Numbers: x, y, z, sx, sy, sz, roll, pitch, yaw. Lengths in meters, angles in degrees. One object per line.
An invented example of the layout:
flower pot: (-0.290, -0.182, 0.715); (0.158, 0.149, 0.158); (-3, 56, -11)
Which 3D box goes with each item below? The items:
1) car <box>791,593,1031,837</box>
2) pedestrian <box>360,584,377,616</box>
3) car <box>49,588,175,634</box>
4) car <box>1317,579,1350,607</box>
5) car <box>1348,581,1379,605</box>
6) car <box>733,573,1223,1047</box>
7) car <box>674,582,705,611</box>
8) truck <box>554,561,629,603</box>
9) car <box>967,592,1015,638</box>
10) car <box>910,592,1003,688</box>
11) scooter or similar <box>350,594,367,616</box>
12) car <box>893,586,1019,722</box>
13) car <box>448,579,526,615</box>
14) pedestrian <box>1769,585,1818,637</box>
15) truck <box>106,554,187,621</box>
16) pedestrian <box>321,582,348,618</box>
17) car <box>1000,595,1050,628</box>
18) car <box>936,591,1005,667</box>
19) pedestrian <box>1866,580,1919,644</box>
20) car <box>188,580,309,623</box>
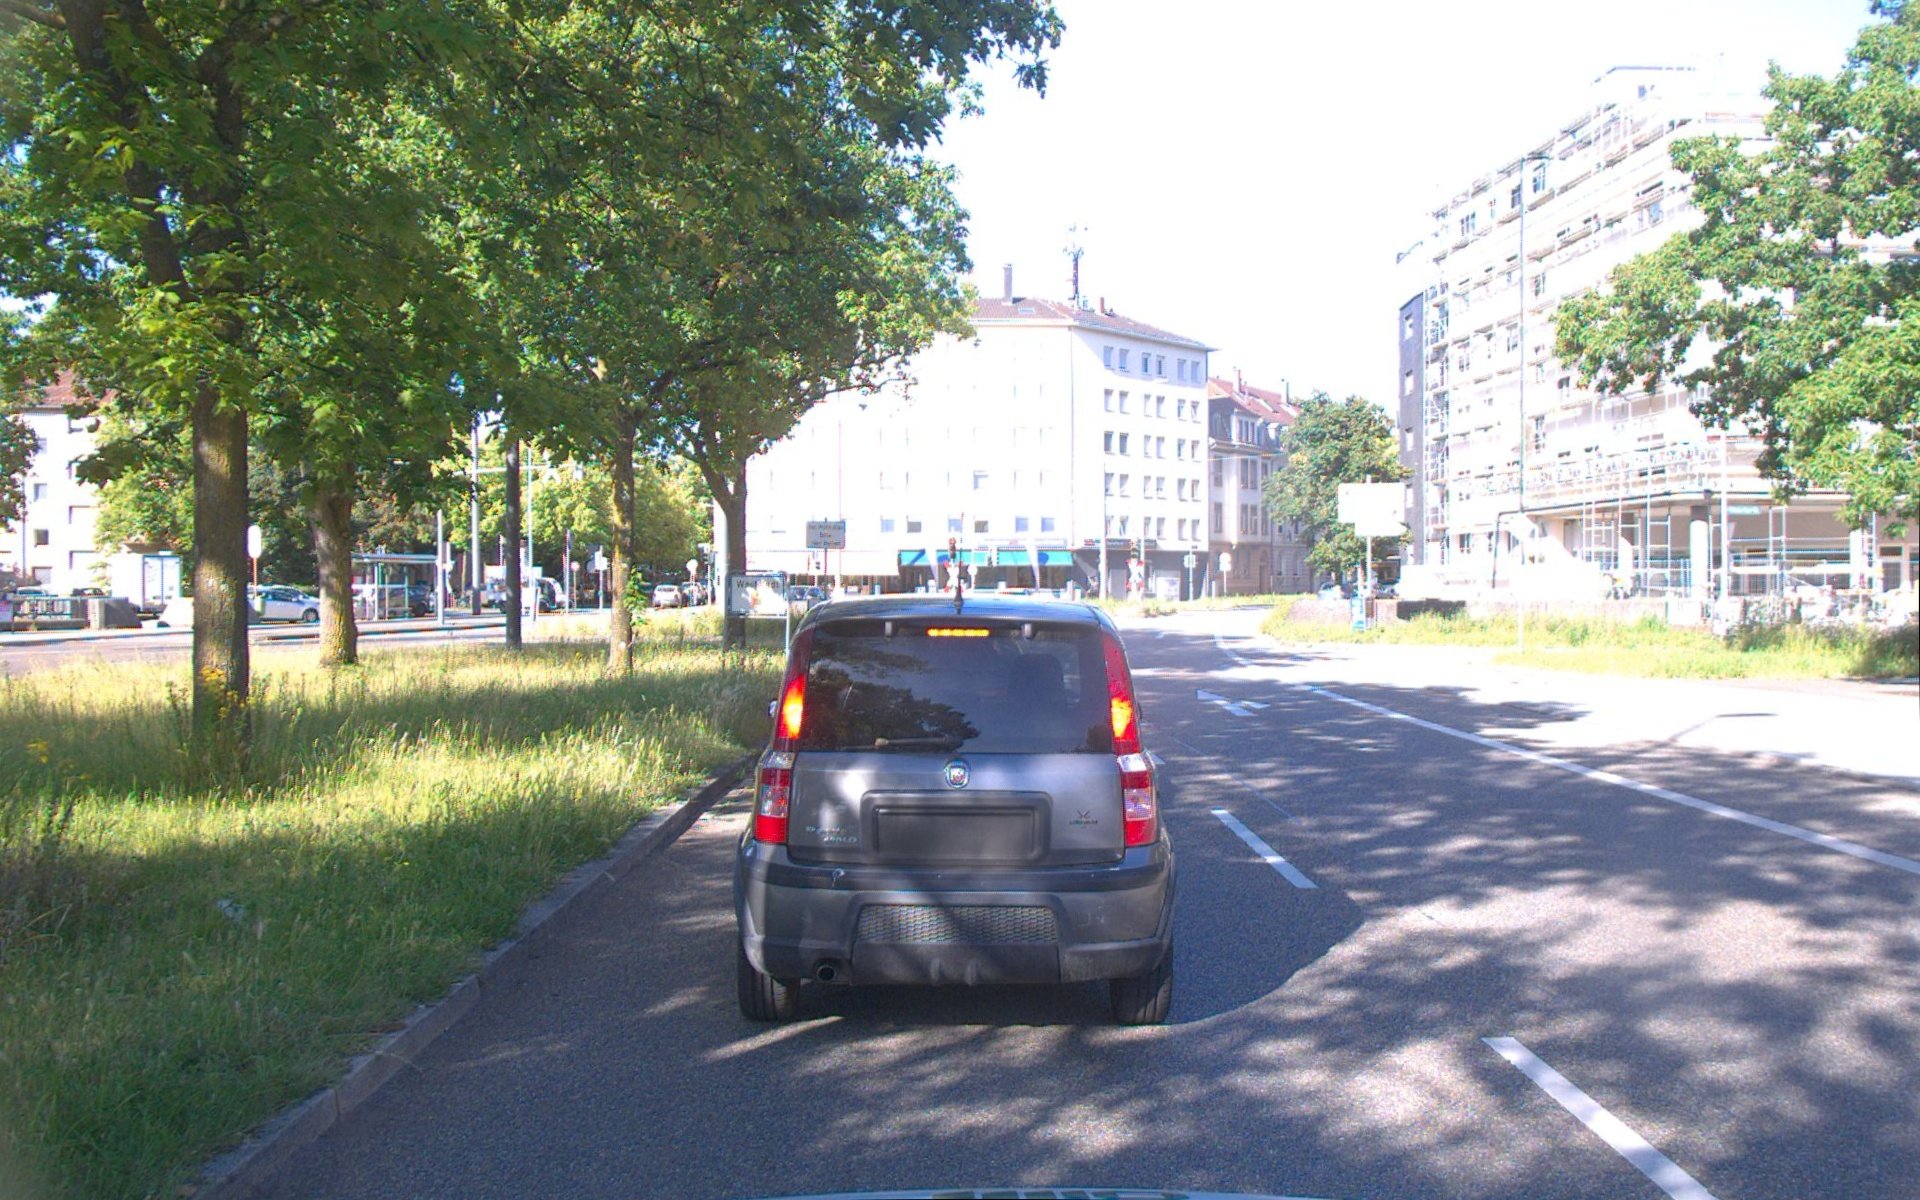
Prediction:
car: (-0.317, 0.680, 11.619); (1.434, 1.425, 3.393); (0, 1, -1)
pedestrian: (-25.932, 0.006, 72.521); (0.407, 1.415, 0.626); (0, 0, 26)
car: (-33.444, 0.411, 65.284); (1.961, 1.713, 3.983); (0, 1, 38)
car: (20.499, -0.401, 90.706); (1.646, 1.475, 3.574); (0, 1, 15)
car: (23.003, -0.404, 94.236); (1.495, 1.337, 3.289); (0, 1, 17)
car: (0.033, 0.660, 7.403); (1.595, 1.534, 3.999); (0, 1, -1)
car: (-20.163, -0.277, 123.273); (1.954, 2.049, 3.996); (0, 1, -5)
truck: (-28.368, -1.365, 127.356); (5.371, 3.224, 2.341); (0, 0, 28)
car: (0.916, 0.439, 49.598); (1.328, 1.304, 2.875); (0, 1, -1)
car: (-0.080, 0.607, 27.243); (1.434, 1.449, 3.381); (0, 1, -1)
scooter or similar: (-26.183, 0.234, 71.998); (0.411, 0.943, 0.534); (0, 0, 25)
car: (-0.071, 0.602, 20.663); (1.434, 1.534, 3.504); (0, 1, -1)
car: (-27.936, -0.191, 97.739); (4.093, 2.049, 1.930); (0, 0, -3)
pedestrian: (23.954, 0.303, 47.526); (0.885, 1.472, 0.954); (-1, 1, -35)
truck: (-35.748, -0.558, 72.676); (3.932, 2.854, 1.987); (0, 1, 44)
pedestrian: (-29.254, -0.007, 77.363); (0.904, 1.636, 0.794); (0, 1, 38)
car: (2.282, 0.397, 57.693); (1.118, 1.083, 2.723); (0, 1, 17)
car: (0.177, 0.553, 33.852); (1.328, 1.475, 3.265); (0, 0, -1)
pedestrian: (24.932, 0.299, 44.159); (0.878, 1.682, 0.978); (-1, 0, -28)
car: (-29.959, 0.043, 69.771); (1.961, 1.713, 4.302); (0, 1, 38)
